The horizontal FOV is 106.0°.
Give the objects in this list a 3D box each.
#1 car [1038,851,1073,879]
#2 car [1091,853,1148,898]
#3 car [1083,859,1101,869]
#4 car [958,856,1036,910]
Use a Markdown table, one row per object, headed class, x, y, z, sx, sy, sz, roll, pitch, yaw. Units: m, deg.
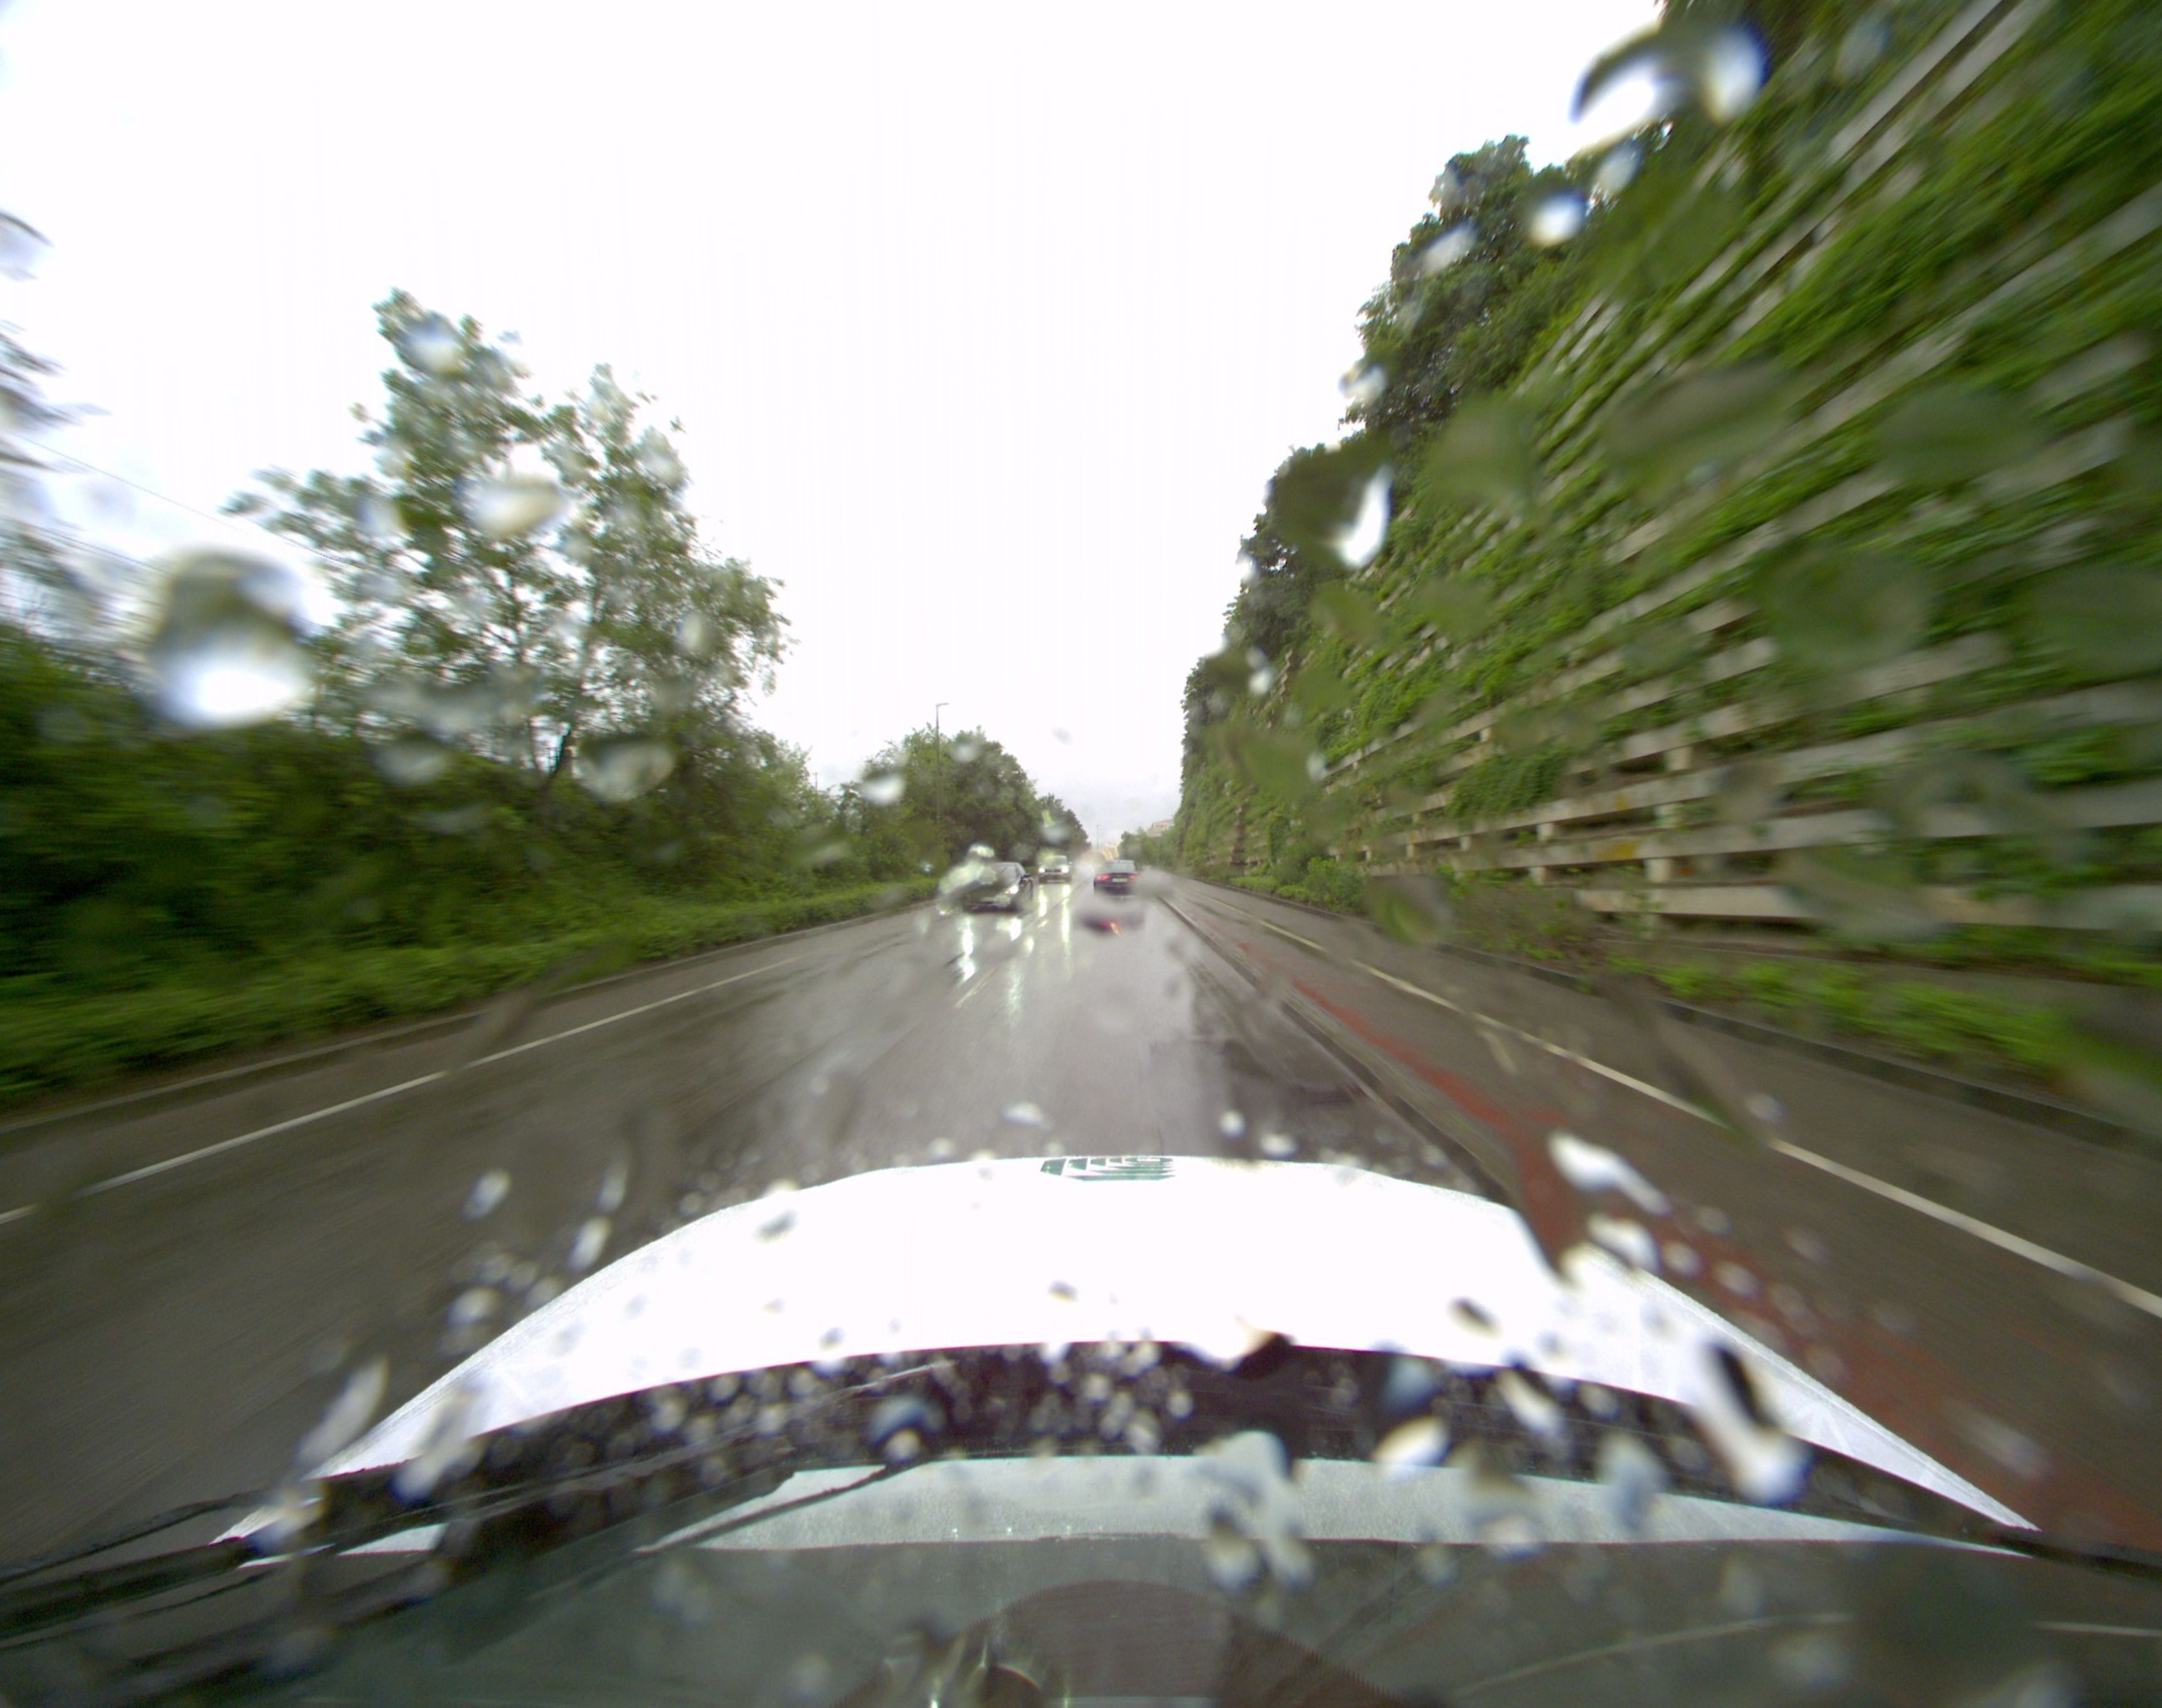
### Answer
| class | x | y | z | sx | sy | sz | roll | pitch | yaw |
| --- | --- | --- | --- | --- | --- | --- | --- | --- | --- |
| car | -1.526 | 0.642 | 49.821 | 1.815 | 1.615 | 4.096 | -1 | 0 | 3 |
| car | 1.425 | 0.721 | 29.511 | 1.884 | 1.492 | 4.212 | -1 | 0 | 4 |
| car | 1.522 | 1.358 | 111.326 | 1.984 | 1.364 | 4.258 | -1 | 0 | 6 |
| car | -2.466 | 0.819 | 25.015 | 1.859 | 1.449 | 4.377 | -2 | 0 | 0 |
